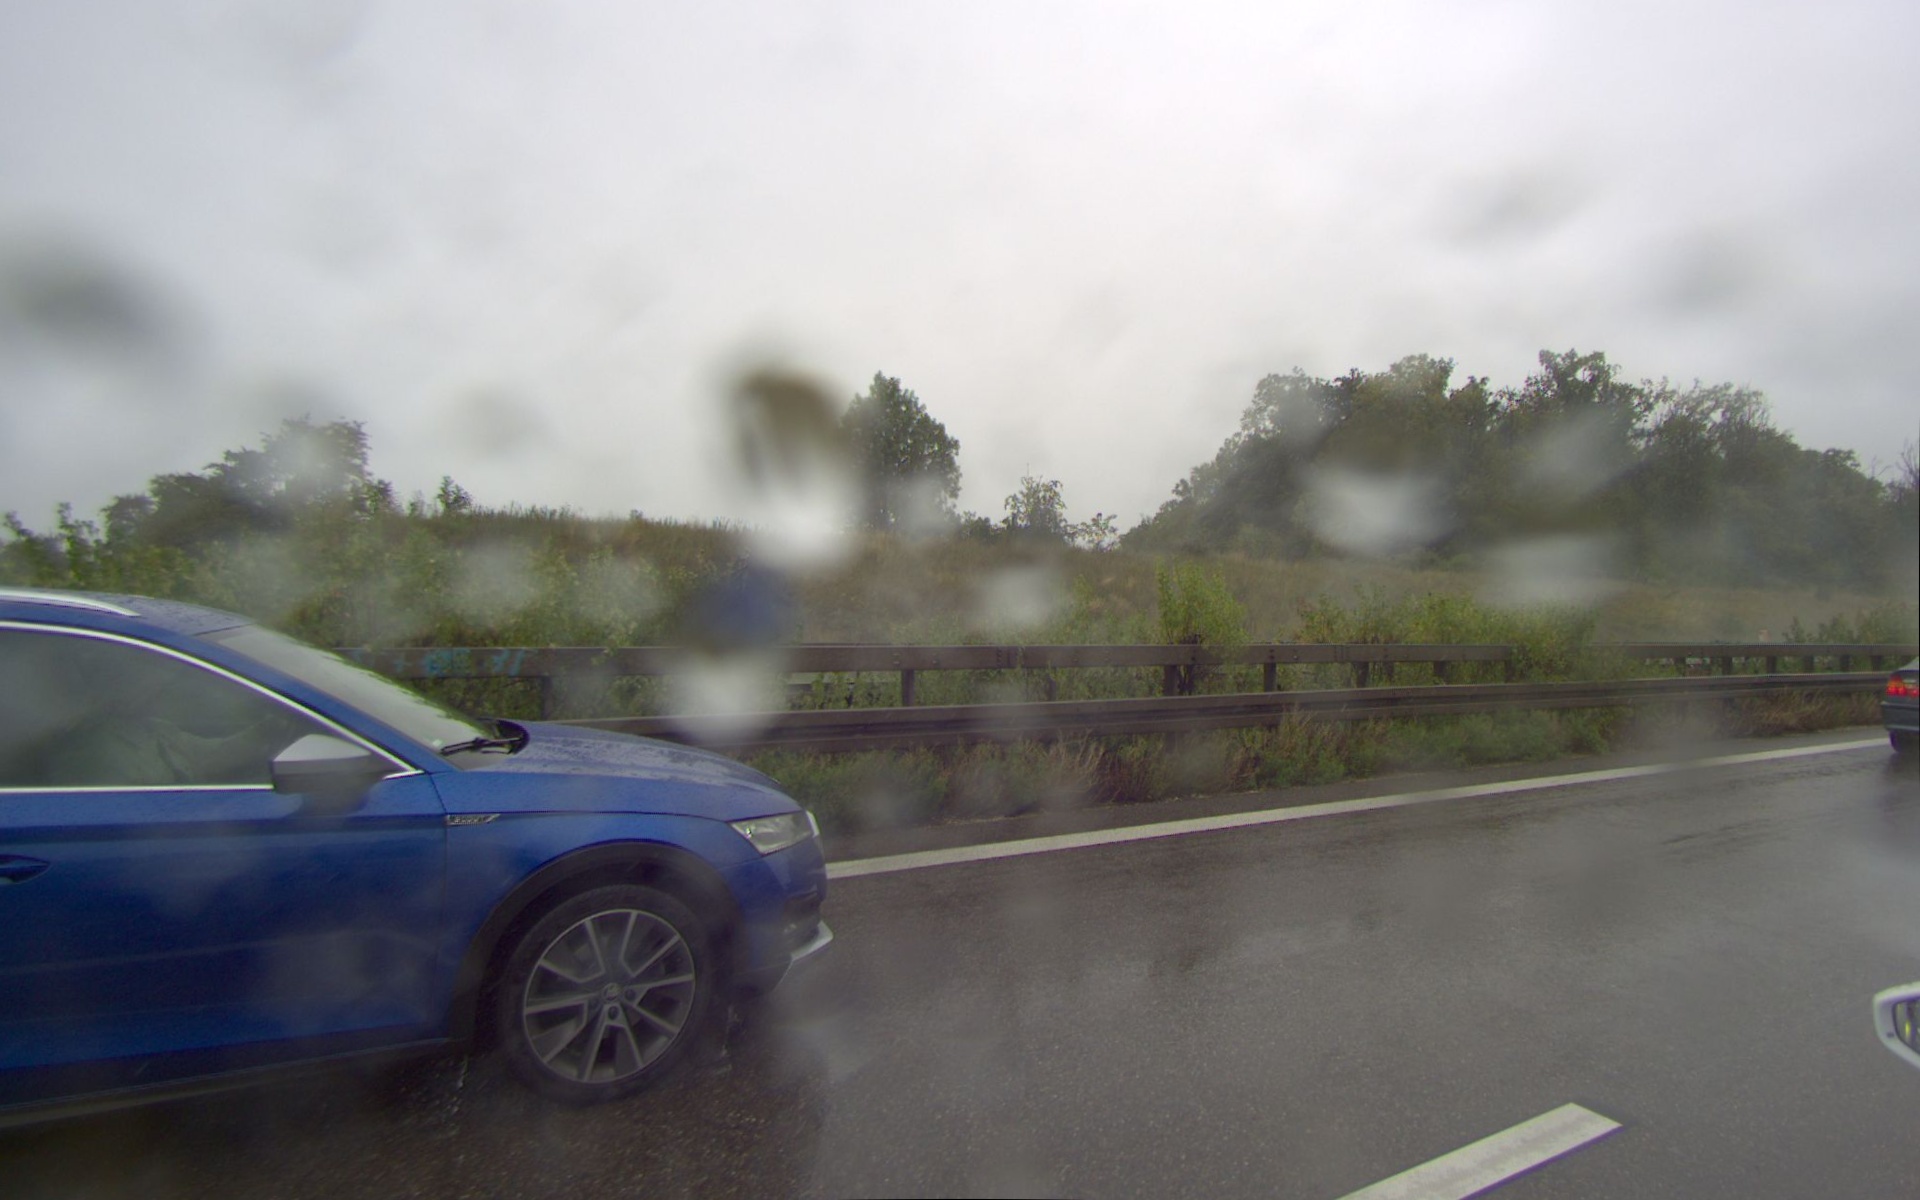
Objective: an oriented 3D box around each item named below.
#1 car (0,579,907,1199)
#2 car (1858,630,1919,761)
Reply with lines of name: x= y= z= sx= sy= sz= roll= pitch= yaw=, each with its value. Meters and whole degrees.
car: x=-2.544 y=0.700 z=2.963 sx=4.459 sy=1.496 sz=1.777 roll=1 pitch=0 yaw=-30
car: x=12.532 y=1.110 z=11.786 sx=4.178 sy=1.418 sz=1.710 roll=2 pitch=-1 yaw=-29
